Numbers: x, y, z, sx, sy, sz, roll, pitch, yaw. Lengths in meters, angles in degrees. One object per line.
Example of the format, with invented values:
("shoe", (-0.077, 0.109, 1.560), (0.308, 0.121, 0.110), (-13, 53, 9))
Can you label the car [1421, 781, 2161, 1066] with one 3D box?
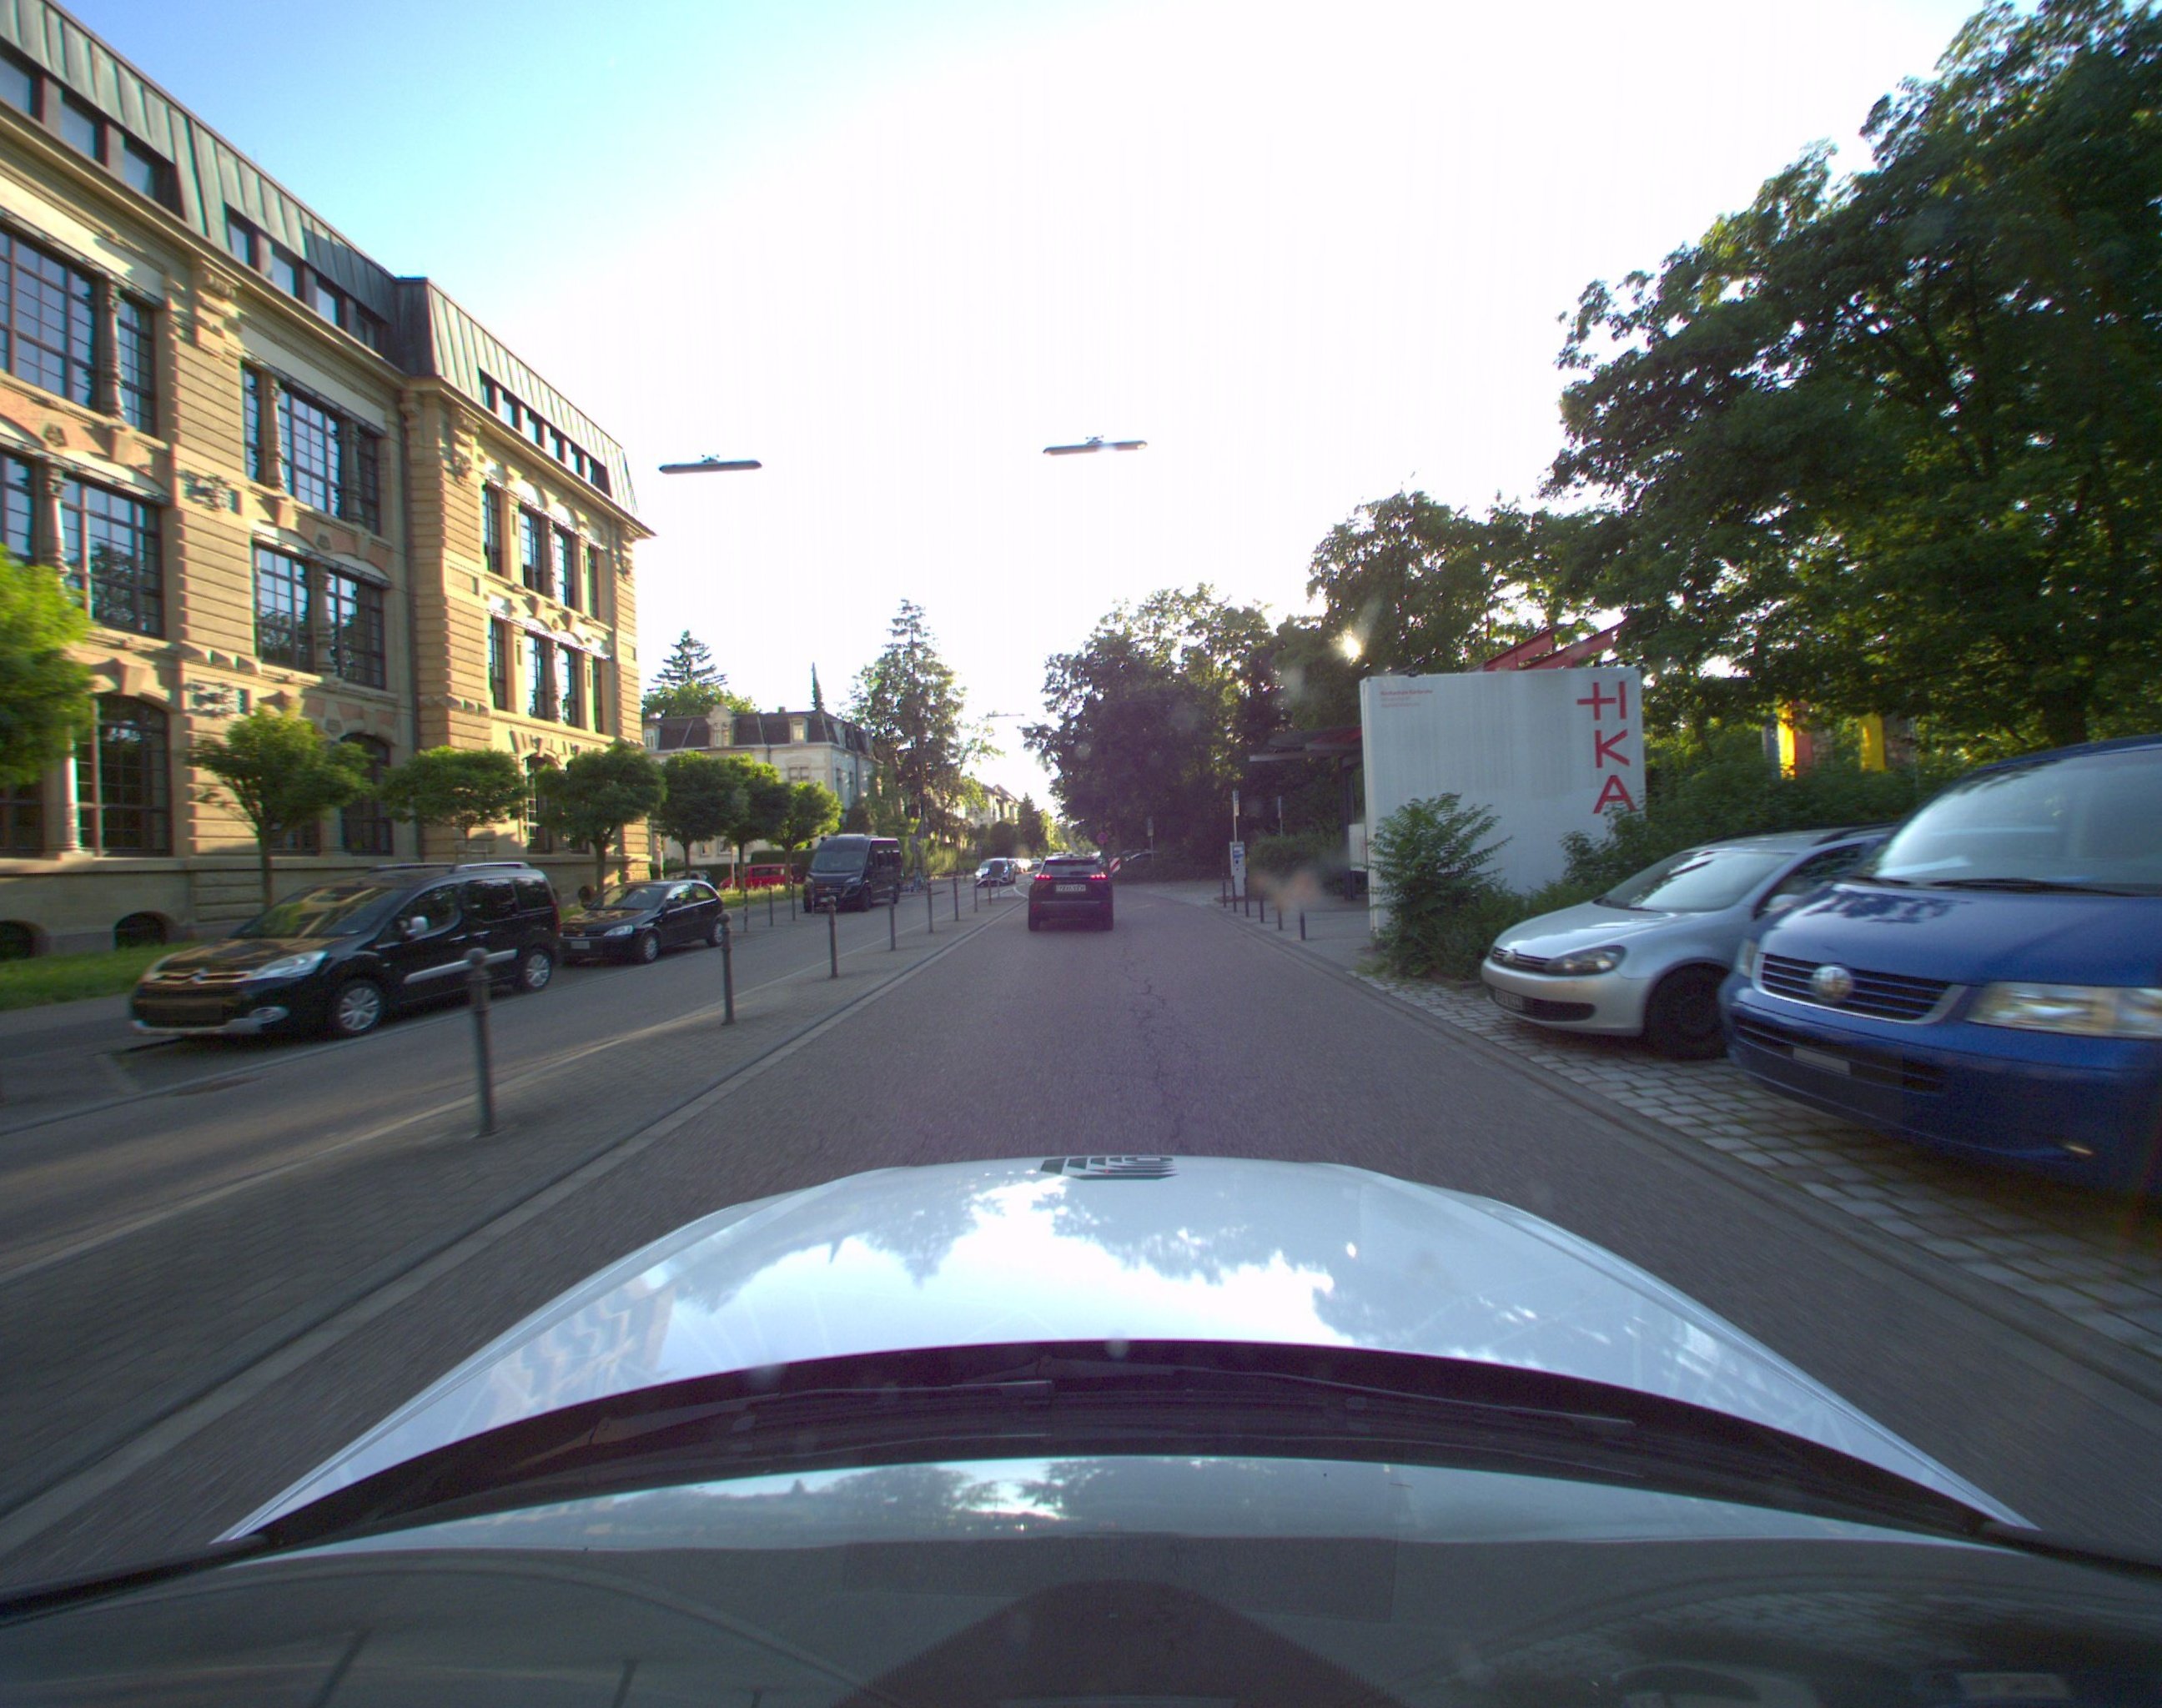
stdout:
("car", (5.542, 0.435, 6.340), (4.910, 1.554, 1.916), (-4, 0, 0))

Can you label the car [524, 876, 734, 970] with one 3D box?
("car", (-8.360, 1.201, 15.515), (1.689, 1.470, 3.857), (0, 0, 3))

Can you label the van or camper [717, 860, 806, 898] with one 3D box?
("van or camper", (-20.269, 1.569, 51.771), (4.748, 1.985, 2.003), (-3, 4, 3))

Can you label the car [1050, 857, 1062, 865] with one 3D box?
("car", (-4.713, 1.316, 152.928), (1.893, 1.574, 4.000), (-2, 0, 1))

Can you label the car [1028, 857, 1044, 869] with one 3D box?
("car", (-5.919, 1.217, 107.267), (1.747, 1.413, 3.763), (-4, 0, 0))

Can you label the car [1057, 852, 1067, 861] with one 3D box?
("car", (-4.052, 0.599, 175.297), (1.987, 1.768, 4.000), (-2, 0, 1))

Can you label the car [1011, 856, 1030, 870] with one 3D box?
("car", (-6.397, 0.943, 86.407), (1.608, 1.466, 4.037), (-3, 0, 2))

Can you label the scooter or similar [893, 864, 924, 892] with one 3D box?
("scooter or similar", (-8.454, 1.176, 39.918), (1.349, 1.275, 0.427), (-2, -1, -34))

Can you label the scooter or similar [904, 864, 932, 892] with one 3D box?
("scooter or similar", (-7.904, 1.160, 39.543), (0.426, 1.275, 1.353), (-3, -1, 36))

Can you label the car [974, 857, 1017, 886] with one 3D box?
("car", (-4.719, 0.964, 45.575), (1.735, 1.458, 4.624), (-3, 0, 1))

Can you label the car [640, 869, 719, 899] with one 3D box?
("car", (-25.411, 1.872, 51.668), (3.976, 1.673, 1.919), (-2, 0, -2))

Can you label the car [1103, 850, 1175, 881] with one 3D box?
("car", (3.308, 0.637, 46.975), (3.973, 1.554, 1.726), (-3, 1, 1))

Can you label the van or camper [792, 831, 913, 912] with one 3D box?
("van or camper", (-7.955, 0.582, 29.319), (2.222, 2.544, 7.080), (-1, 0, 1))

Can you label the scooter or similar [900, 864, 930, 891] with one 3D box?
("scooter or similar", (-8.275, 1.172, 40.604), (1.349, 1.275, 0.427), (-2, -1, -34))

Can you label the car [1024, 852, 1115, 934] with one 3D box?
("car", (-0.176, 0.761, 18.068), (1.765, 1.568, 4.110), (-1, 0, 1))

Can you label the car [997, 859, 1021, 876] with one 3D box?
("car", (-6.633, 1.209, 75.200), (1.608, 1.466, 4.037), (-3, 0, 2))

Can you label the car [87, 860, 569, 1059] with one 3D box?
("car", (-8.570, 1.026, 9.957), (1.771, 1.866, 4.334), (0, 0, 2))

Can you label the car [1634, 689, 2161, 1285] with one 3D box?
("car", (5.583, 0.264, 3.628), (4.836, 1.915, 1.916), (-4, 0, 0))

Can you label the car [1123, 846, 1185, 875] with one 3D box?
("car", (5.331, 0.495, 59.821), (4.293, 1.804, 2.035), (-4, -1, 0))

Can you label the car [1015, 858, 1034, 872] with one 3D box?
("car", (-6.272, 1.198, 91.169), (1.608, 1.466, 4.037), (-3, 0, 2))

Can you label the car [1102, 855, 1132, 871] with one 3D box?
("car", (4.919, 1.193, 111.992), (3.979, 2.089, 1.755), (-2, 0, -4))
